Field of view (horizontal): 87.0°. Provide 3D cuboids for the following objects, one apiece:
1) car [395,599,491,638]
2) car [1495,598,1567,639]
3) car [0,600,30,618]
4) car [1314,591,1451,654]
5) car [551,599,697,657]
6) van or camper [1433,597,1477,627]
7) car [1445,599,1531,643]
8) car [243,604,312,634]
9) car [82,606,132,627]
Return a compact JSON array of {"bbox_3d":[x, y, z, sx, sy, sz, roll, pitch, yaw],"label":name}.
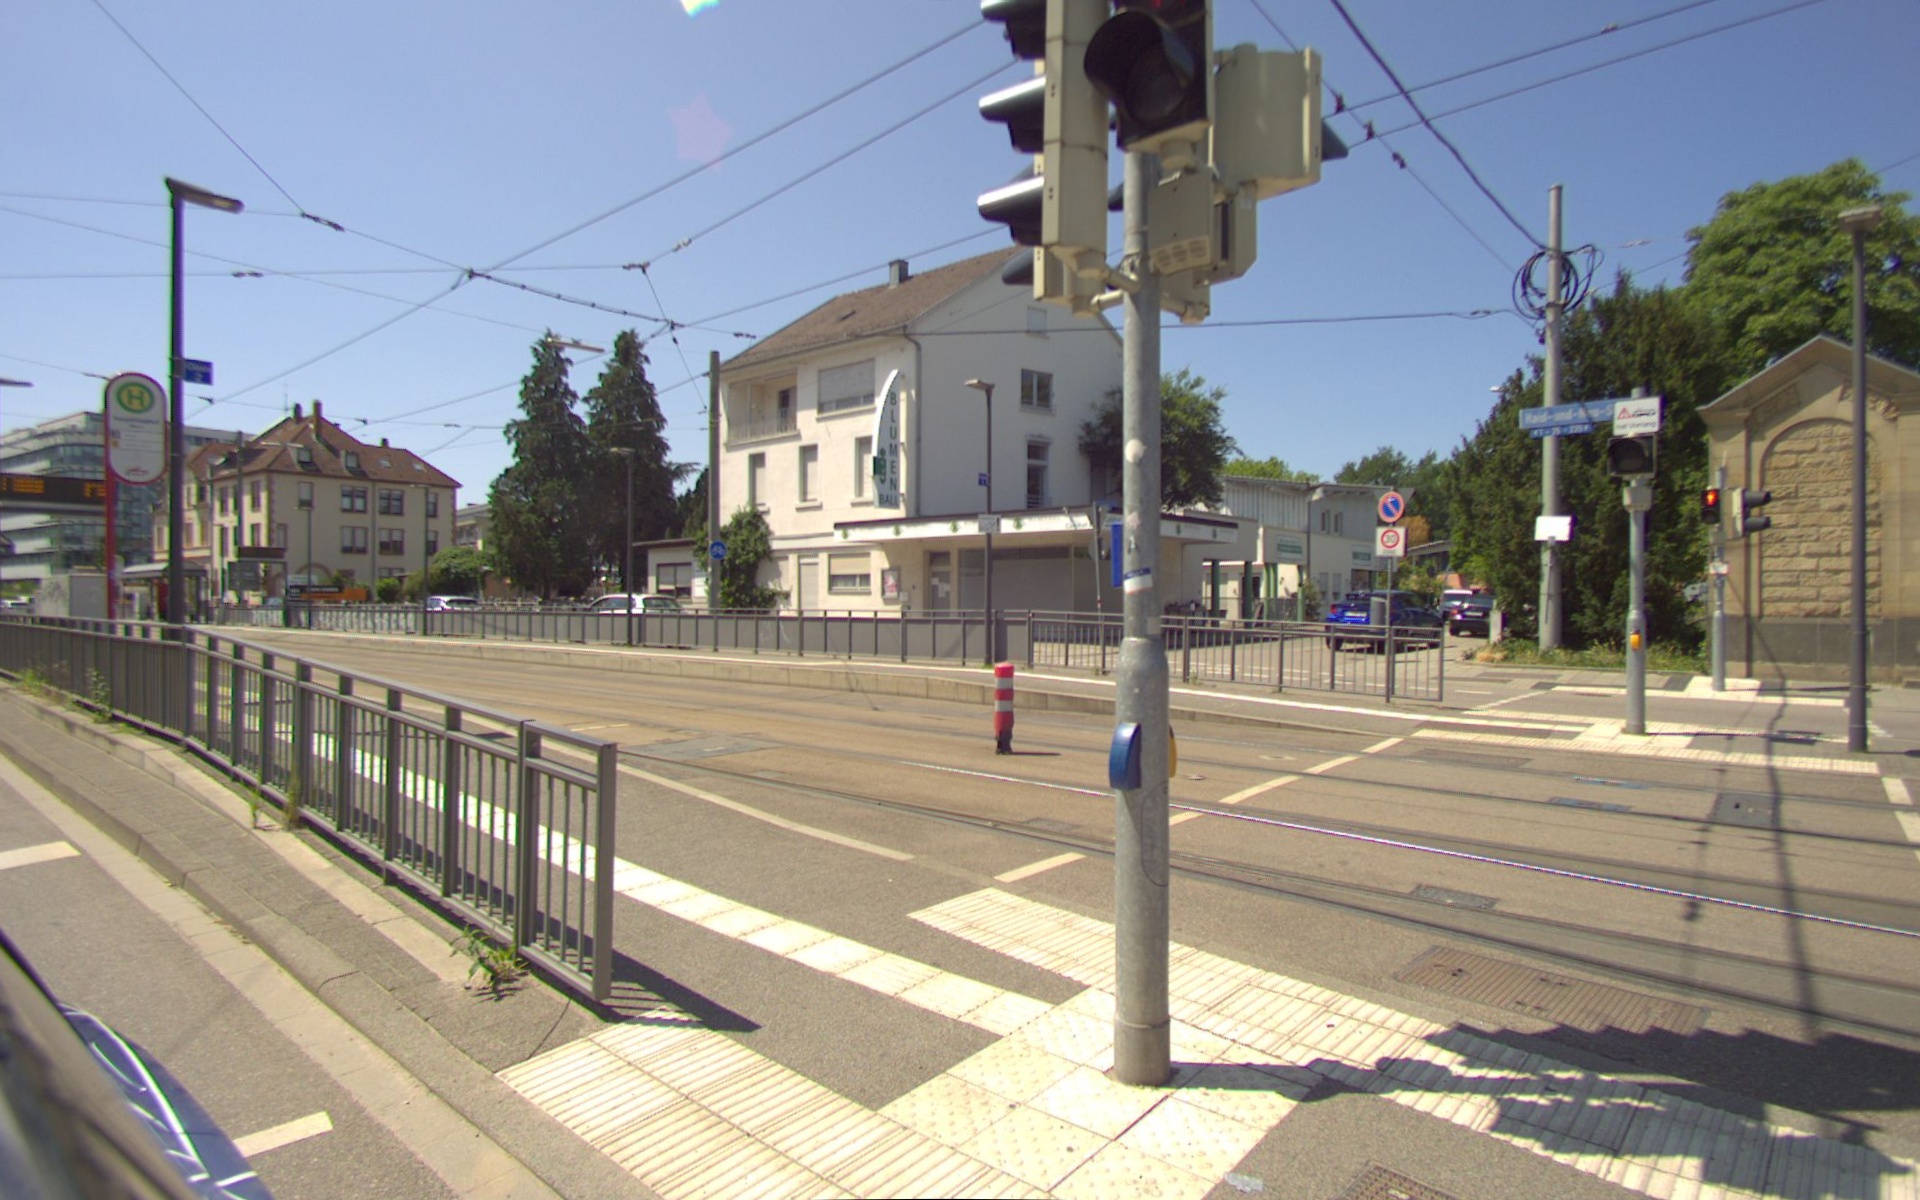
[{"bbox_3d":[-19.270,0.663,37.649,4.048,1.373,1.799,0,0,40],"label":"car"},{"bbox_3d":[21.711,0.697,38.426,1.644,1.457,3.760,0,-1,42],"label":"car"},{"bbox_3d":[-79.323,0.722,84.191,4.610,1.479,1.803,0,0,33],"label":"car"},{"bbox_3d":[10.677,0.512,25.458,3.900,1.463,1.825,0,0,-45],"label":"car"},{"bbox_3d":[-9.492,0.739,28.435,4.494,1.501,1.800,0,0,39],"label":"car"},{"bbox_3d":[26.772,0.623,54.704,1.686,1.578,3.783,0,0,33],"label":"van or camper"},{"bbox_3d":[17.564,0.701,33.590,1.644,1.380,3.759,0,-1,42],"label":"car"},{"bbox_3d":[-34.389,0.924,50.944,4.476,1.453,1.837,0,0,41],"label":"car"},{"bbox_3d":[-60.505,1.144,71.788,4.167,1.406,1.801,0,0,36],"label":"car"}]
